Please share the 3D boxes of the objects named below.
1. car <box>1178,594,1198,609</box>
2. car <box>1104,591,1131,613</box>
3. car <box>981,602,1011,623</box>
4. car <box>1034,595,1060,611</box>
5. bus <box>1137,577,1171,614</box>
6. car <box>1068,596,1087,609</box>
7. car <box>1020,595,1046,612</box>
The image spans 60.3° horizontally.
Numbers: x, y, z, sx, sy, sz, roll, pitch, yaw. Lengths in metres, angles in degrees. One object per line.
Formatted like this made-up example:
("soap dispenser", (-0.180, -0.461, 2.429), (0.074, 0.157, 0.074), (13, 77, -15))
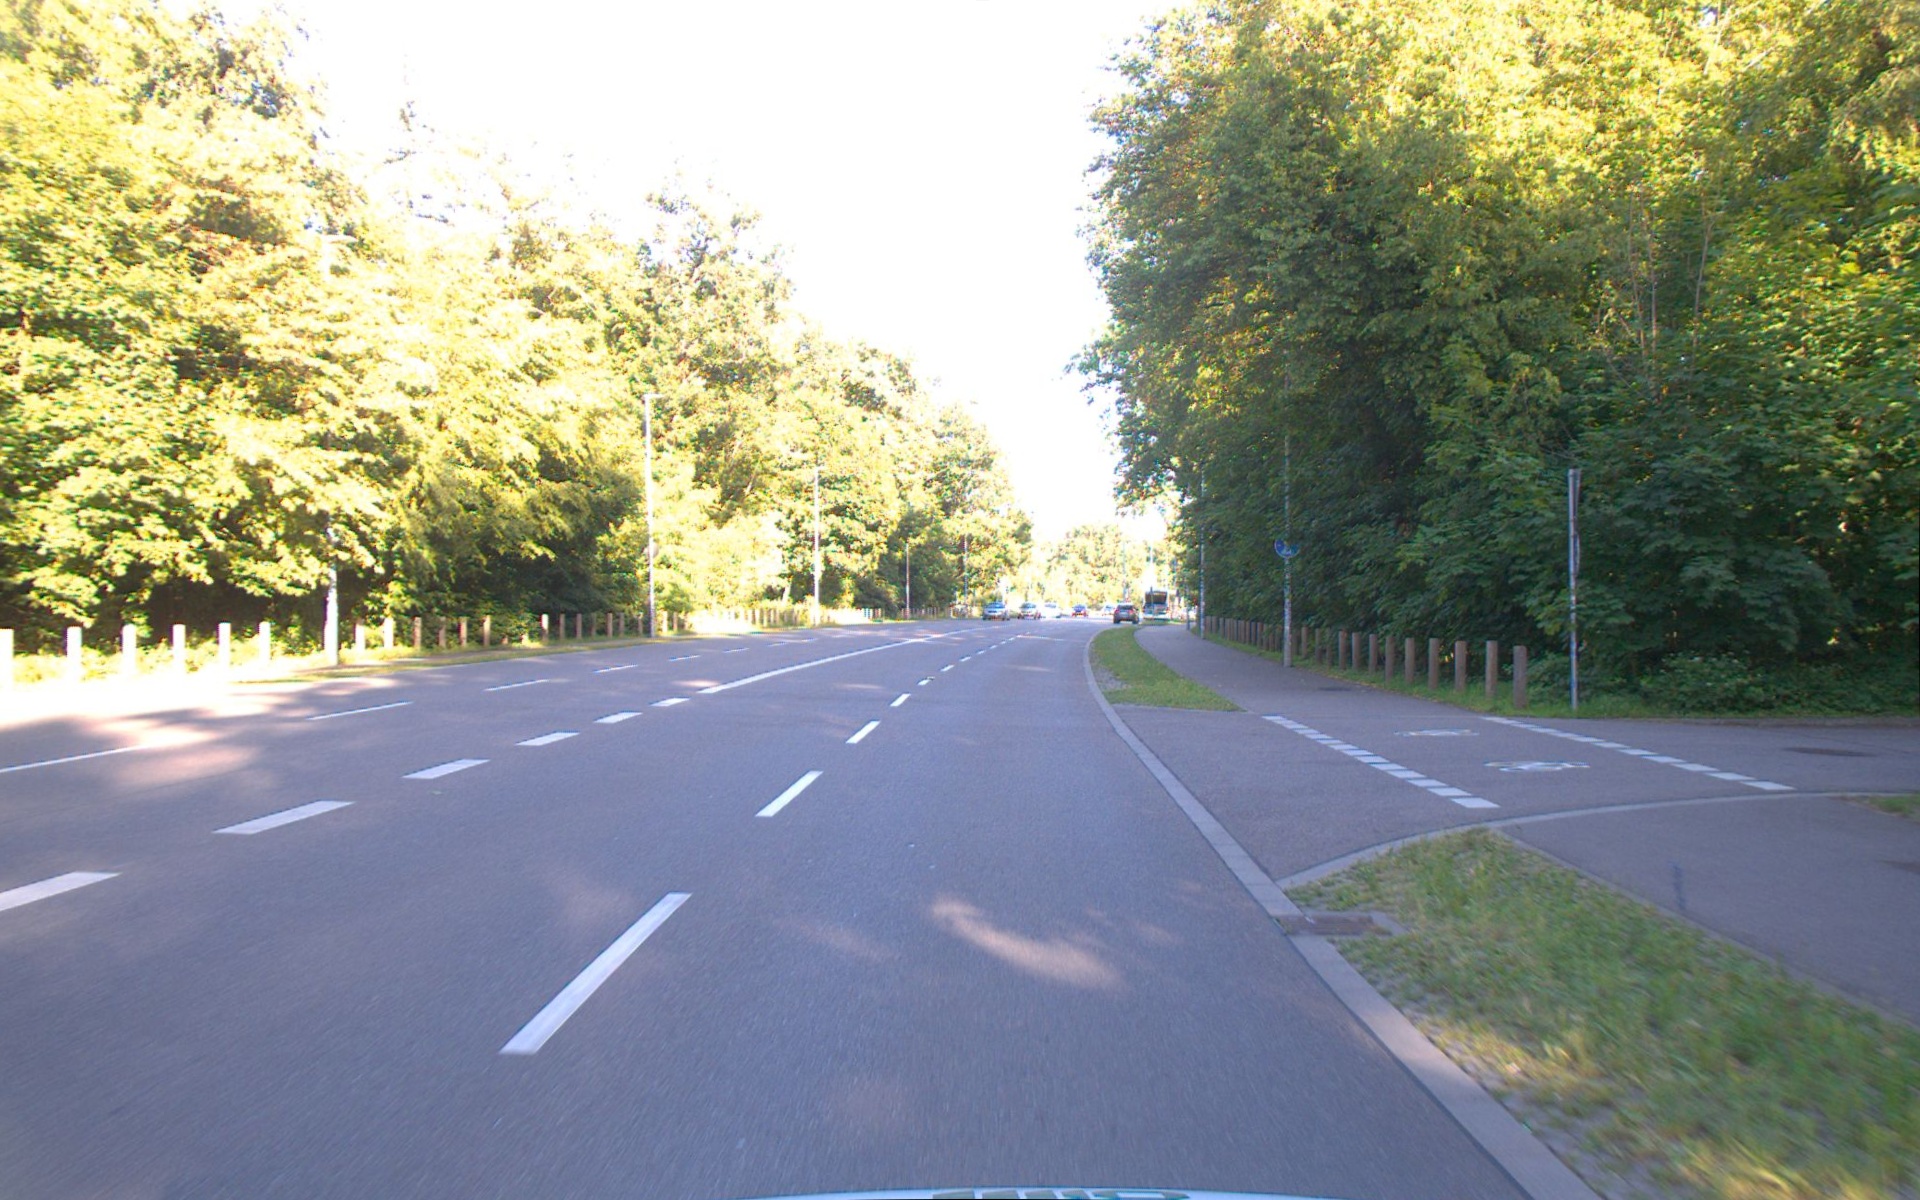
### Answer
("car", (27.113, 0.170, 196.820), (1.823, 1.713, 3.775), (-1, 0, 16))
("car", (13.186, 0.125, 138.483), (1.840, 1.796, 4.004), (0, 0, 12))
("car", (2.844, 0.959, 128.882), (1.741, 1.433, 4.169), (1, 1, 9))
("car", (8.608, 0.269, 163.721), (1.745, 1.549, 4.401), (0, 0, 14))
("bus", (18.753, -0.489, 159.567), (2.549, 3.427, 7.982), (1, 1, 12))
("car", (13.788, 0.263, 193.641), (1.627, 1.544, 3.810), (0, 0, 12))
("car", (6.598, 0.325, 149.115), (1.741, 1.490, 4.278), (0, 0, 11))
